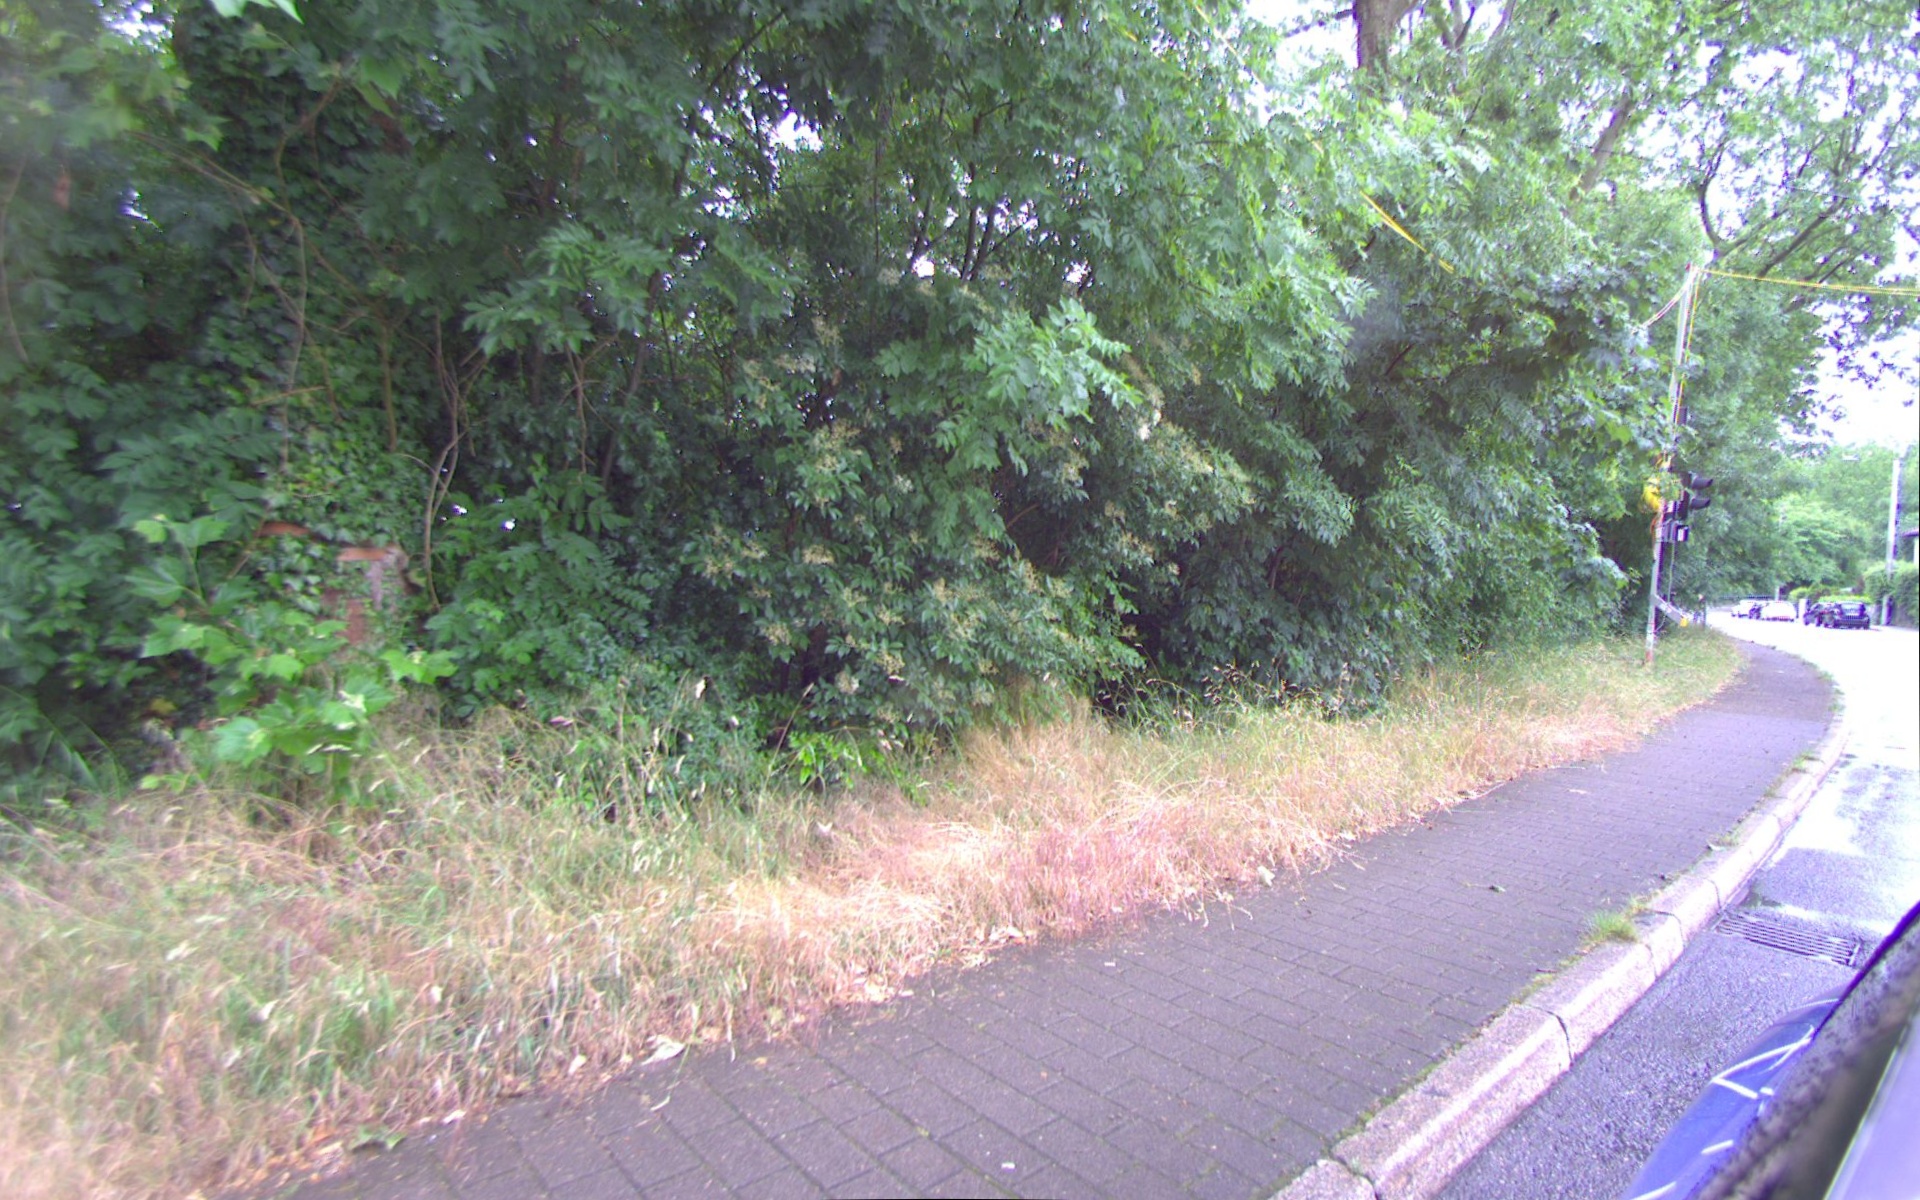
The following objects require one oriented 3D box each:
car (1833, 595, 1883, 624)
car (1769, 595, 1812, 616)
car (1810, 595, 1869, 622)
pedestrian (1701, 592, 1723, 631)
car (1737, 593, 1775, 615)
[{"bbox_3d":[50.817,0.524,57.322,1.512,1.472,2.996,3,2,31],"label":"car"},{"bbox_3d":[60.432,0.378,73.703,1.688,1.486,3.674,1,1,29],"label":"car"},{"bbox_3d":[52.866,0.484,60.918,1.678,1.436,4.175,3,2,27],"label":"car"},{"bbox_3d":[31.901,0.478,42.955,0.638,1.631,0.663,1,2,30],"label":"pedestrian"},{"bbox_3d":[64.985,0.316,82.678,1.723,1.439,4.241,-3,1,29],"label":"car"}]
